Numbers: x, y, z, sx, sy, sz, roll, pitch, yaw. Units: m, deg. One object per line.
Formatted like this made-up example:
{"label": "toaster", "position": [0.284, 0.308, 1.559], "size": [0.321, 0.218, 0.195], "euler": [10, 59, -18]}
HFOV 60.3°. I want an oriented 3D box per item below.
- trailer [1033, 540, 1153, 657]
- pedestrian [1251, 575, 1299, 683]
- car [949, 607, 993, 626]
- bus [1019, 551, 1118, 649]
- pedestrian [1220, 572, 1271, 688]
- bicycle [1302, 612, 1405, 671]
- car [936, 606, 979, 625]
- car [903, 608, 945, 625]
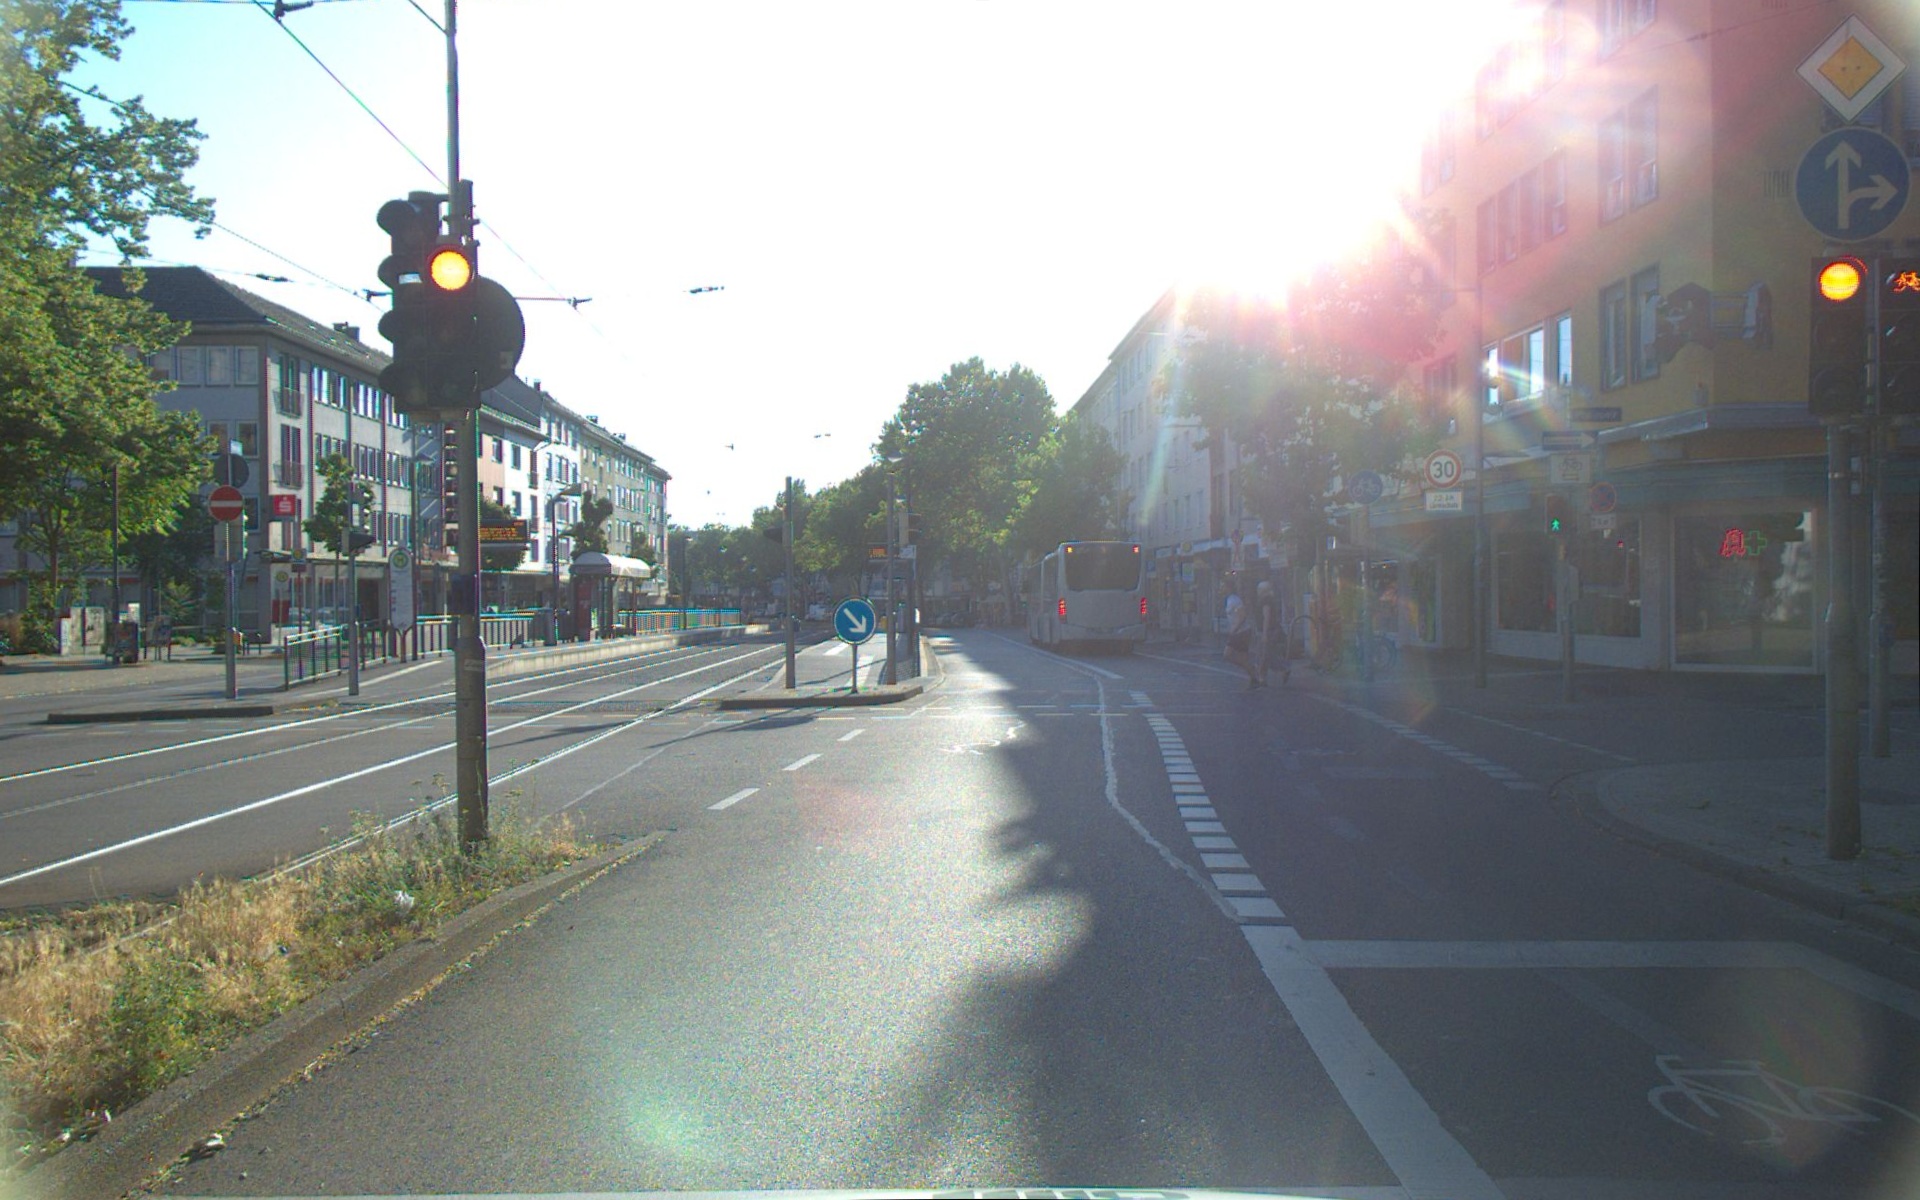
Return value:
{"label": "trailer", "position": [3.868, -0.031, 50.093], "size": [2.755, 3.165, 8.792], "euler": [1, 0, -1]}
{"label": "pedestrian", "position": [5.356, 0.489, 28.147], "size": [0.666, 1.801, 0.687], "euler": [0, 0, 0]}
{"label": "car", "position": [1.023, 1.566, 158.593], "size": [3.848, 1.729, 1.815], "euler": [-1, 0, -30]}
{"label": "bus", "position": [3.738, 0.000, 59.044], "size": [2.755, 3.156, 9.092], "euler": [1, 0, -1]}
{"label": "pedestrian", "position": [4.511, 0.471, 26.133], "size": [0.666, 1.801, 0.687], "euler": [-1, 0, 0]}
{"label": "bicycle", "position": [7.467, 0.777, 31.421], "size": [1.737, 1.039, 0.694], "euler": [-2, 0, -2]}
{"label": "car", "position": [-0.224, 1.482, 161.309], "size": [3.848, 1.729, 1.815], "euler": [-1, 0, -30]}
{"label": "car", "position": [-3.602, 1.700, 166.334], "size": [3.848, 1.624, 1.674], "euler": [-1, 0, -30]}
